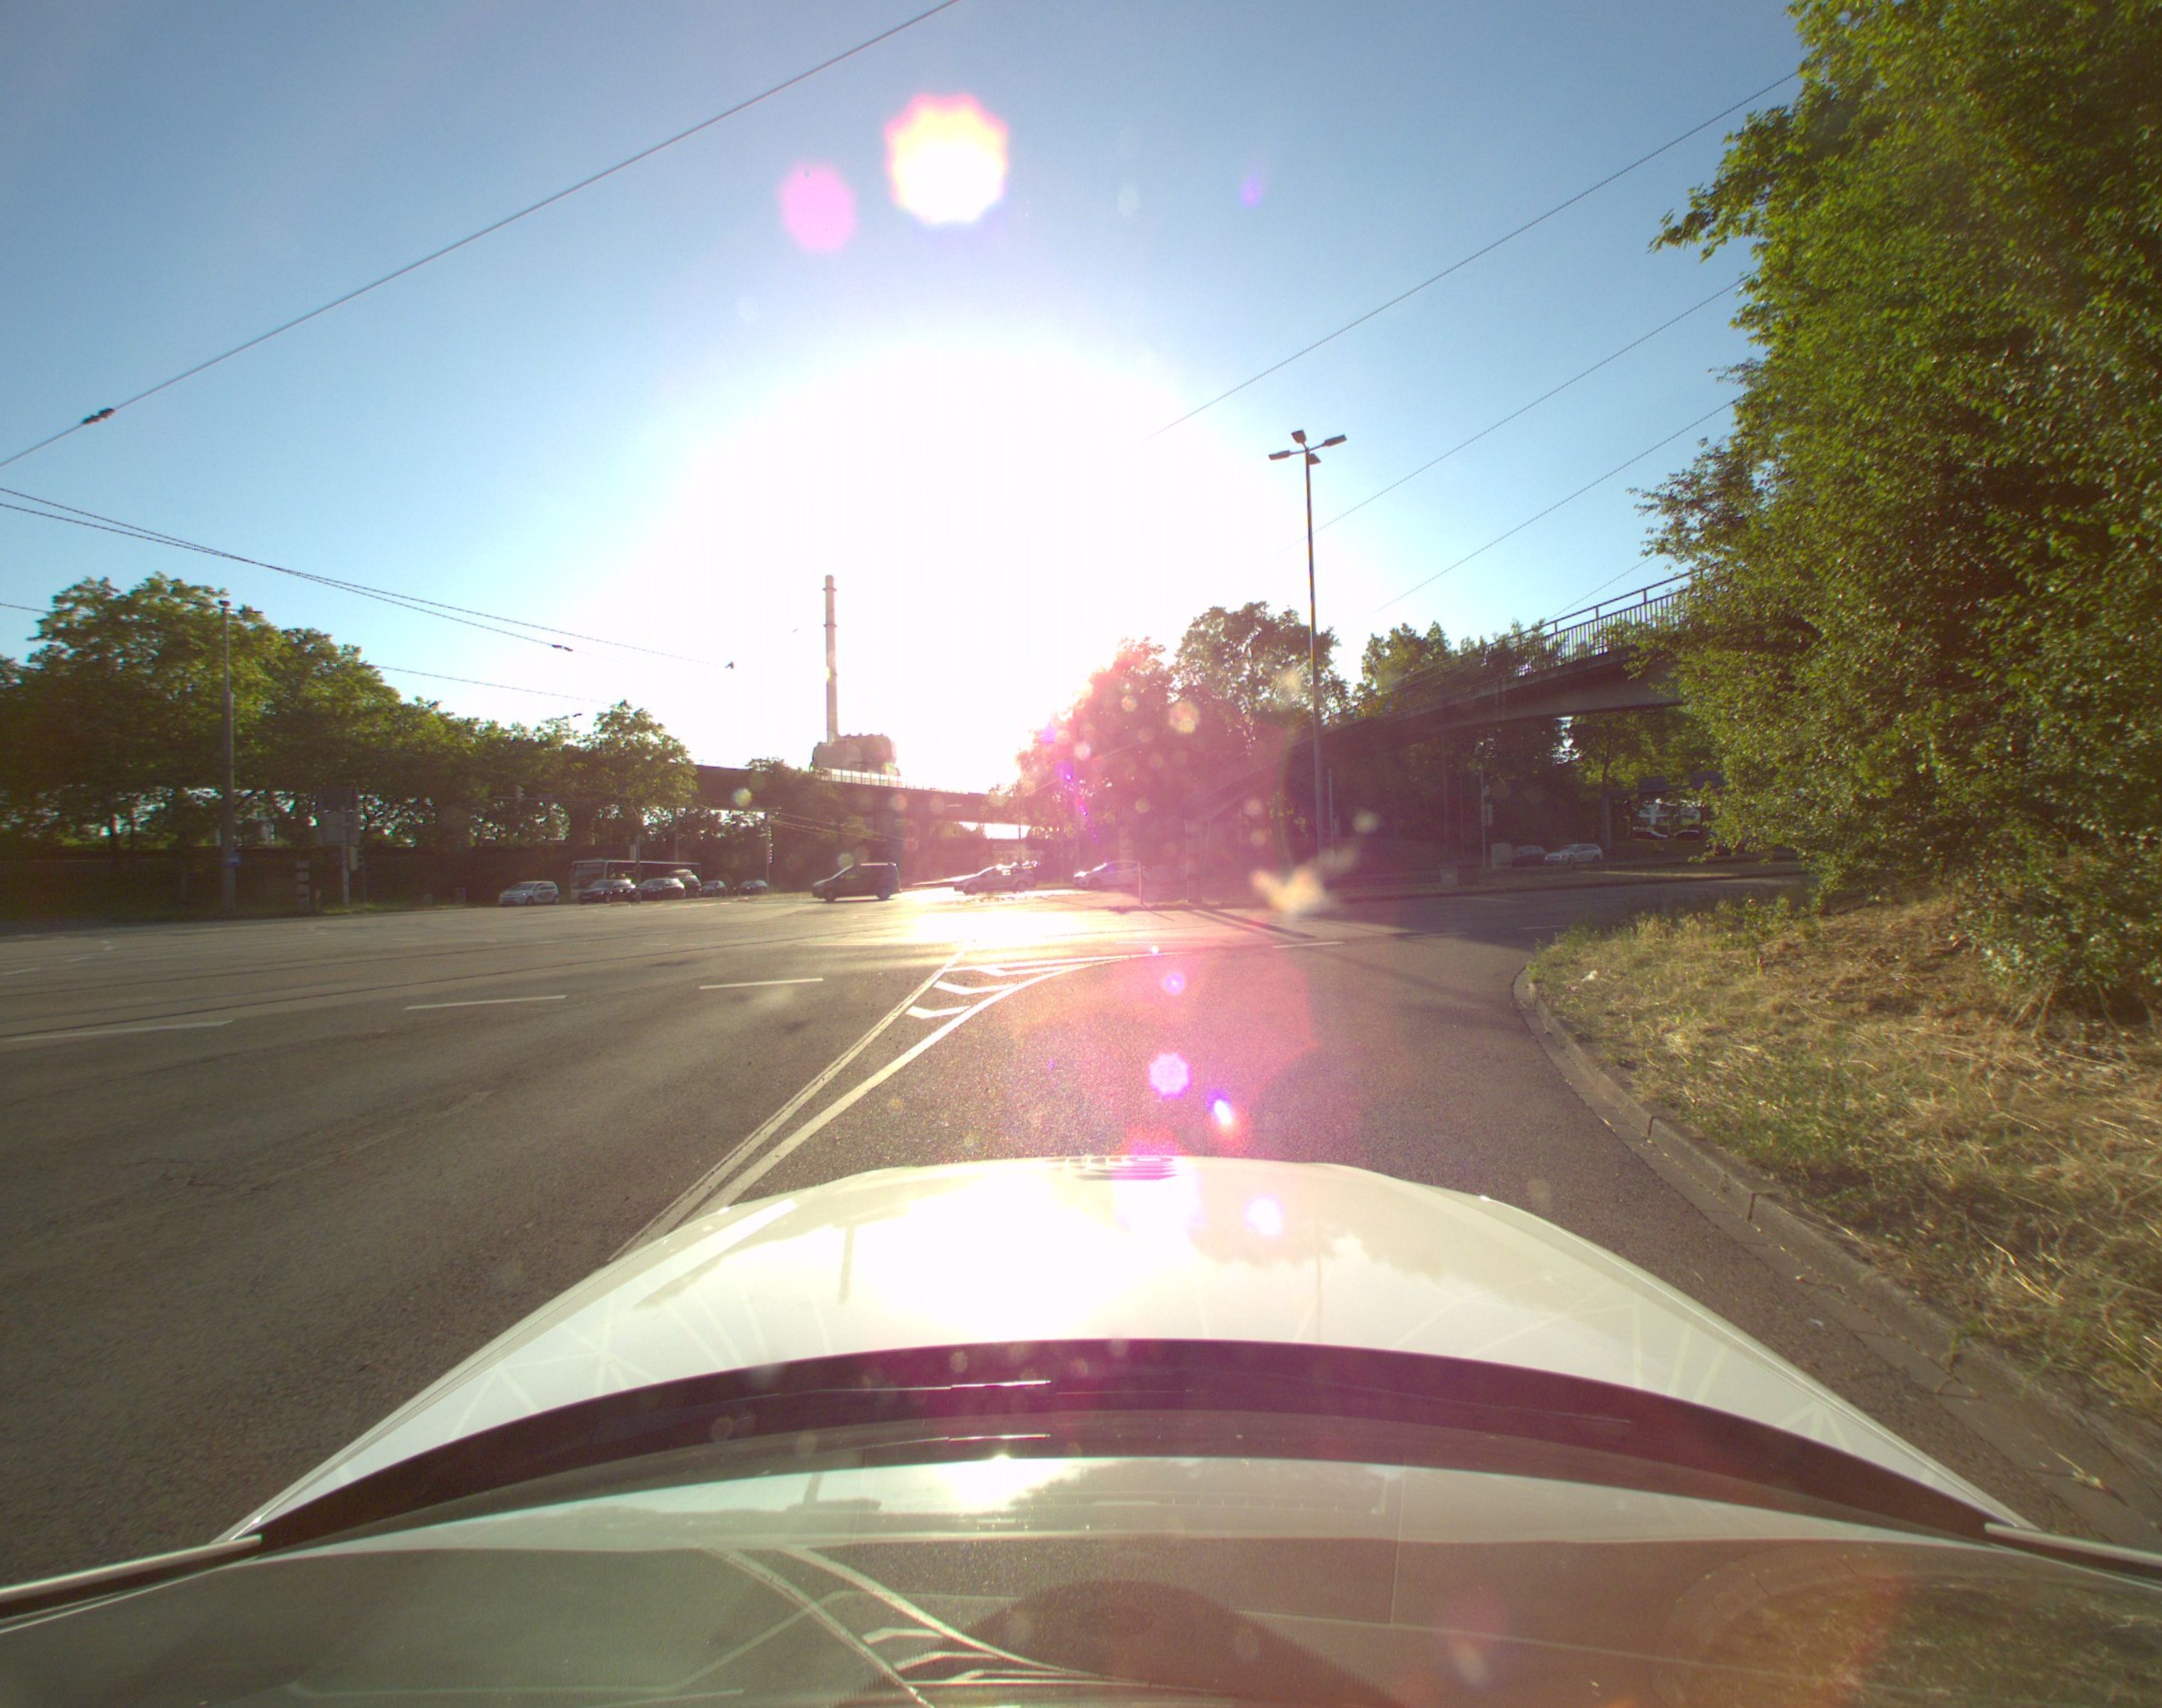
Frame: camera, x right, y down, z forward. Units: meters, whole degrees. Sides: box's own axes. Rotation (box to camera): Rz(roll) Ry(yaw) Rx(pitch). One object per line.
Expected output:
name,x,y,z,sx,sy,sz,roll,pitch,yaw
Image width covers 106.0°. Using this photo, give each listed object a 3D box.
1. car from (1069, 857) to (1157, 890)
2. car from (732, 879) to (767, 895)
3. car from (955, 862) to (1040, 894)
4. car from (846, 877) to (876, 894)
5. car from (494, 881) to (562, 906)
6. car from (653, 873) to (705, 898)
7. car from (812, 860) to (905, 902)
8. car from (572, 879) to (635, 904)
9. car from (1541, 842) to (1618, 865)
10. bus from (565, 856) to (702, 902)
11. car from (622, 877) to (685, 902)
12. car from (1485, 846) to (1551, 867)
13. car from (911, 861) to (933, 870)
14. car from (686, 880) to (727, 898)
car,1.716,1.026,43.501,4.308,1.609,1.844,-1,-1,-20
car,-31.664,3.148,77.860,1.694,1.442,3.999,-1,-1,0
car,-4.605,1.299,44.879,4.370,1.609,1.844,-1,-1,-20
car,-28.697,4.073,106.369,1.984,2.014,5.432,-2,0,4
car,-32.704,2.299,48.301,1.600,1.354,3.730,-1,-1,-3
car,-28.668,2.229,58.234,1.705,1.652,4.094,-1,-1,0
car,-10.688,1.280,39.152,4.148,1.867,1.843,-1,-1,-21
car,-28.987,2.232,49.595,1.600,1.354,3.996,-1,-1,-3
car,34.554,-0.030,56.473,4.863,1.443,1.997,-1,0,-22
bus,-32.653,1.736,60.374,2.812,2.954,12.855,-1,-1,1
car,-26.169,2.164,49.969,1.705,1.354,4.094,-1,-1,0
car,31.851,0.166,59.388,4.255,1.443,1.997,-1,0,-22
car,-30.499,2.169,156.226,1.974,1.771,4.025,-1,-1,31
car,-32.483,3.020,70.750,1.694,1.442,3.999,-1,-1,0
